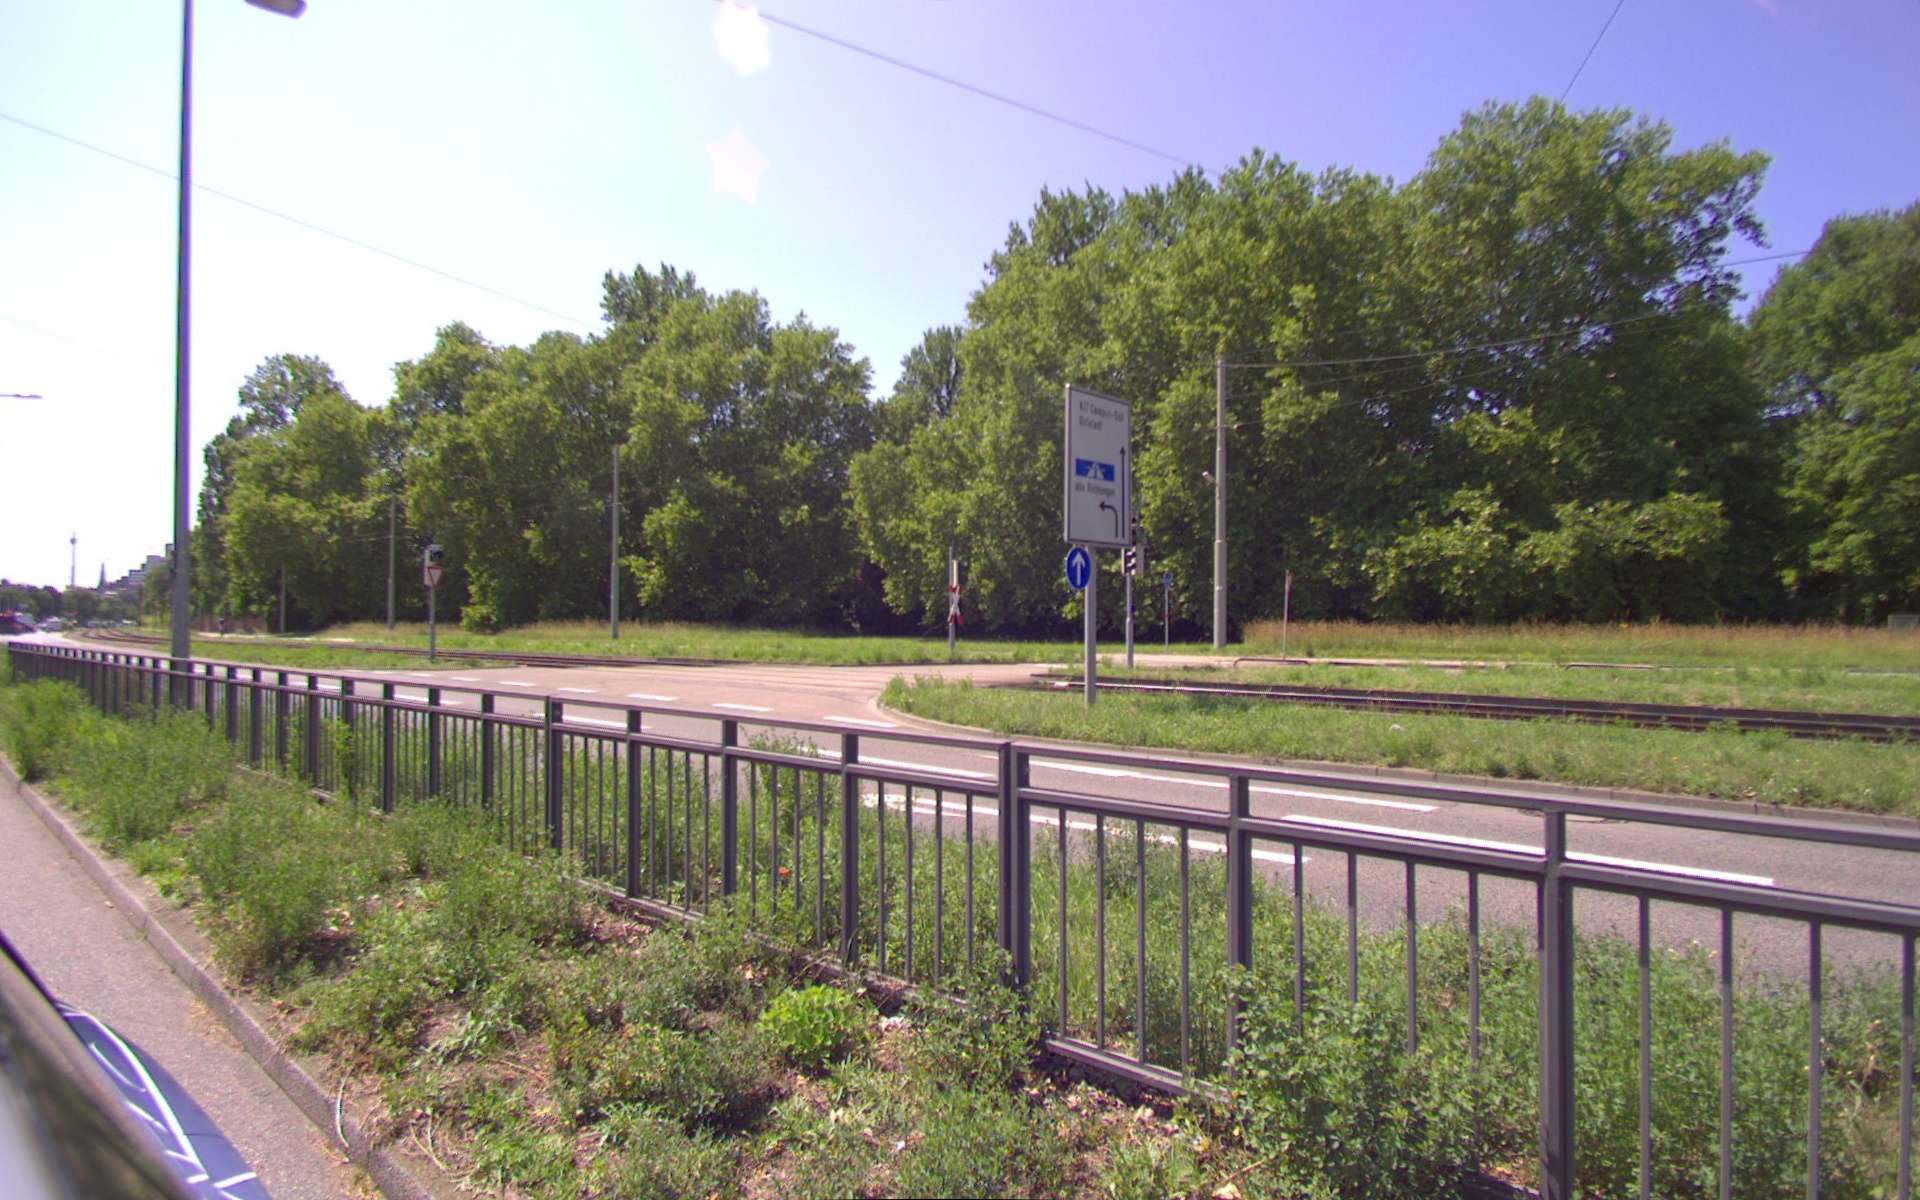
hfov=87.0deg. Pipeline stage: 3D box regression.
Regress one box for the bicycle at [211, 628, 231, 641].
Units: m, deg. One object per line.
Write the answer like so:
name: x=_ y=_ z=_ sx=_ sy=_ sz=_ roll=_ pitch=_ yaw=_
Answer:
bicycle: x=-66.547 y=3.068 z=91.114 sx=2.785 sy=1.171 sz=0.851 roll=-1 pitch=-2 yaw=41

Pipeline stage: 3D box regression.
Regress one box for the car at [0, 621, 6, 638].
car: x=-107.938 y=3.329 z=113.076 sx=1.970 sy=1.871 sz=4.004 roll=1 pitch=-2 yaw=-43

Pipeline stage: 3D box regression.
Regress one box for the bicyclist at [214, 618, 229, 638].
bicyclist: x=-66.493 y=2.507 z=91.110 sx=1.117 sy=1.820 sz=0.851 roll=-1 pitch=-2 yaw=41

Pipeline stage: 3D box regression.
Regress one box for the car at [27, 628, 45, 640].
car: x=-141.849 y=5.235 z=155.333 sx=1.970 sy=1.871 sz=4.003 roll=1 pitch=-2 yaw=-44

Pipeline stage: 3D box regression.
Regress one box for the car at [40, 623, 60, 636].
car: x=-136.542 y=4.391 z=151.819 sx=1.970 sy=1.871 sz=4.003 roll=1 pitch=-2 yaw=-44
